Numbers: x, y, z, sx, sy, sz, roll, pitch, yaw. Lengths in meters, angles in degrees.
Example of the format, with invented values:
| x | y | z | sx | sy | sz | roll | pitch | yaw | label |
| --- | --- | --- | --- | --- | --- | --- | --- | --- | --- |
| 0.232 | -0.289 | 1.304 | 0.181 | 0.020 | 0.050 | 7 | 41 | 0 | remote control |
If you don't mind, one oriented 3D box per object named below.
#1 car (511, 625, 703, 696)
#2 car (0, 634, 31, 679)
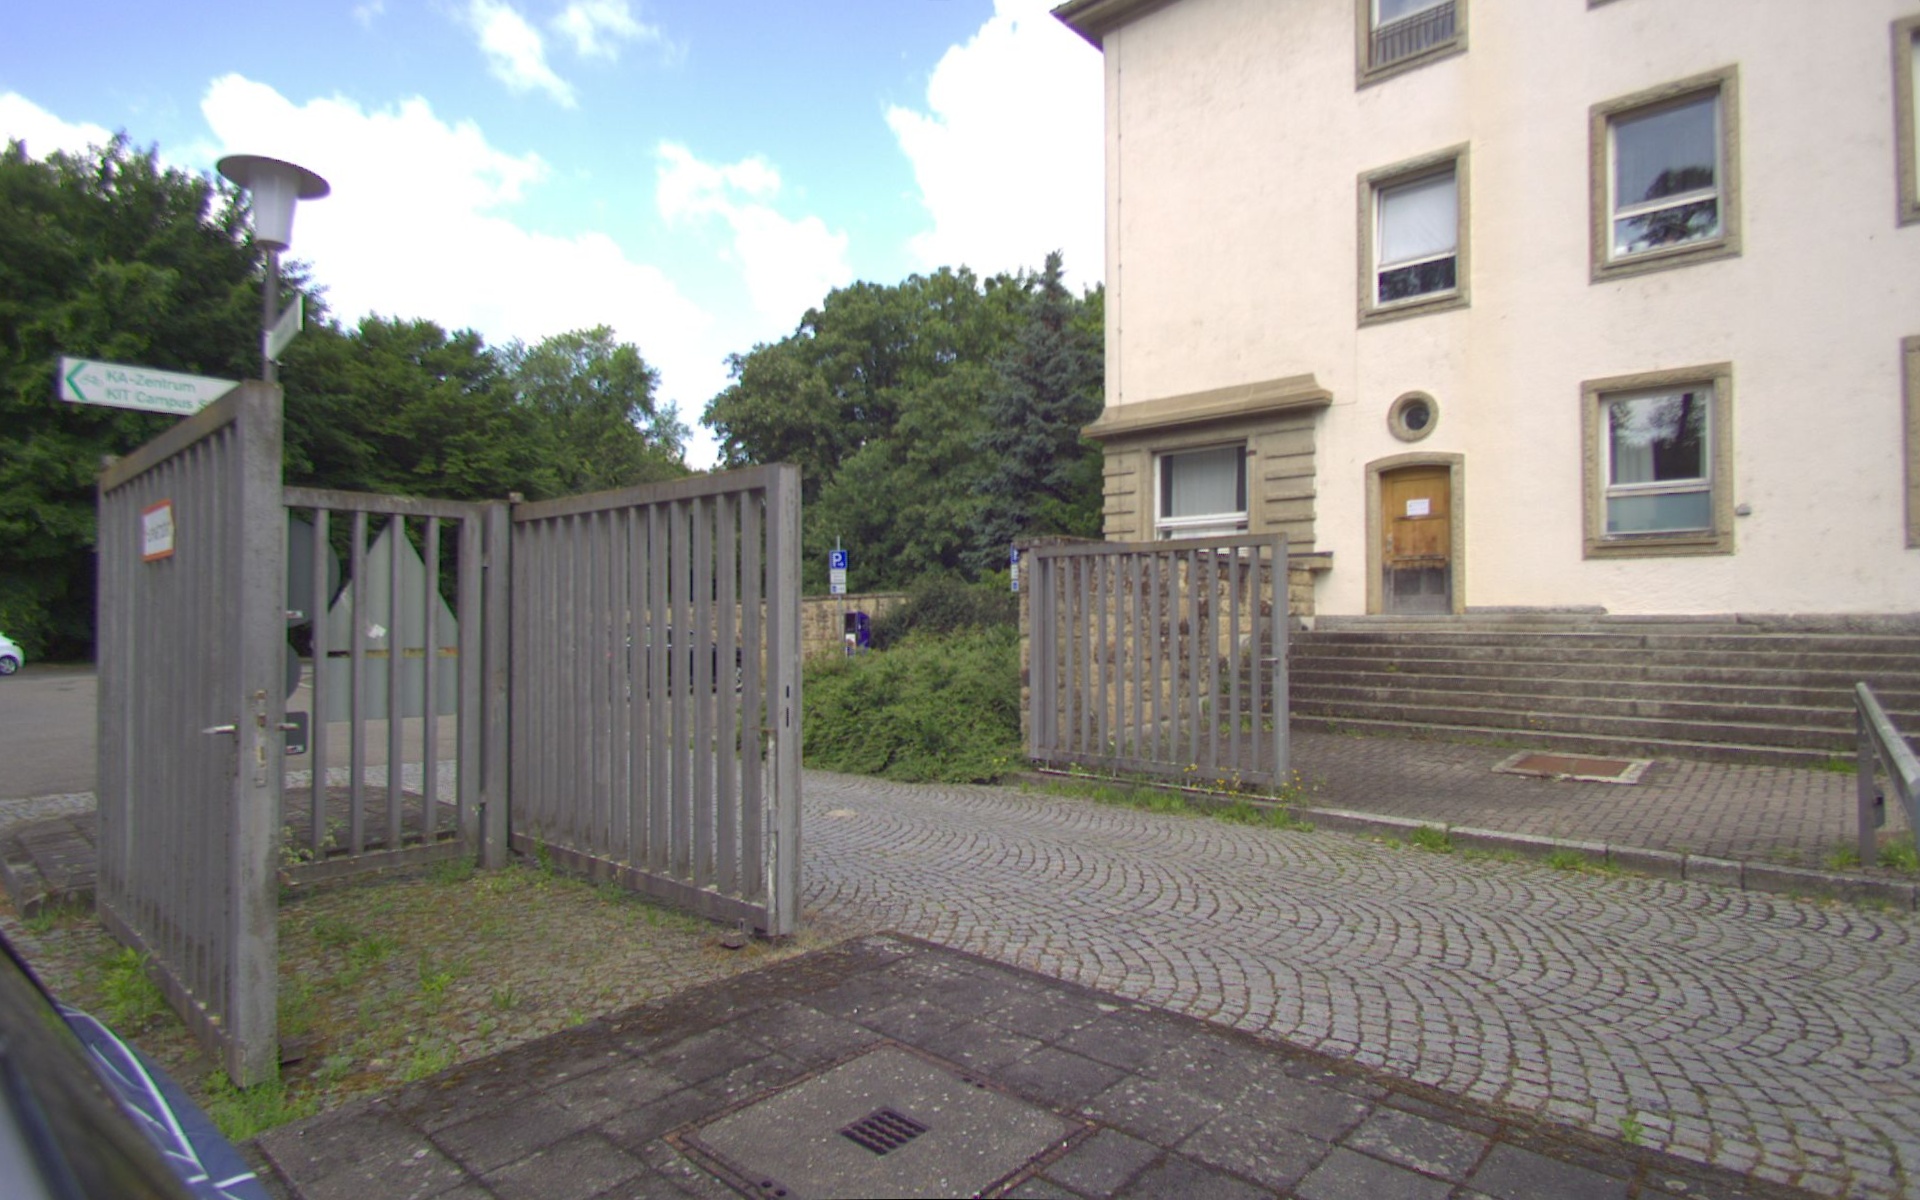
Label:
| x | y | z | sx | sy | sz | roll | pitch | yaw | label |
| --- | --- | --- | --- | --- | --- | --- | --- | --- | --- |
| -8.477 | 1.402 | 24.497 | 1.880 | 1.452 | 3.942 | -2 | -1 | 45 | car |
| -31.077 | 1.727 | 29.726 | 1.981 | 1.389 | 5.388 | -1 | -2 | 14 | car |
